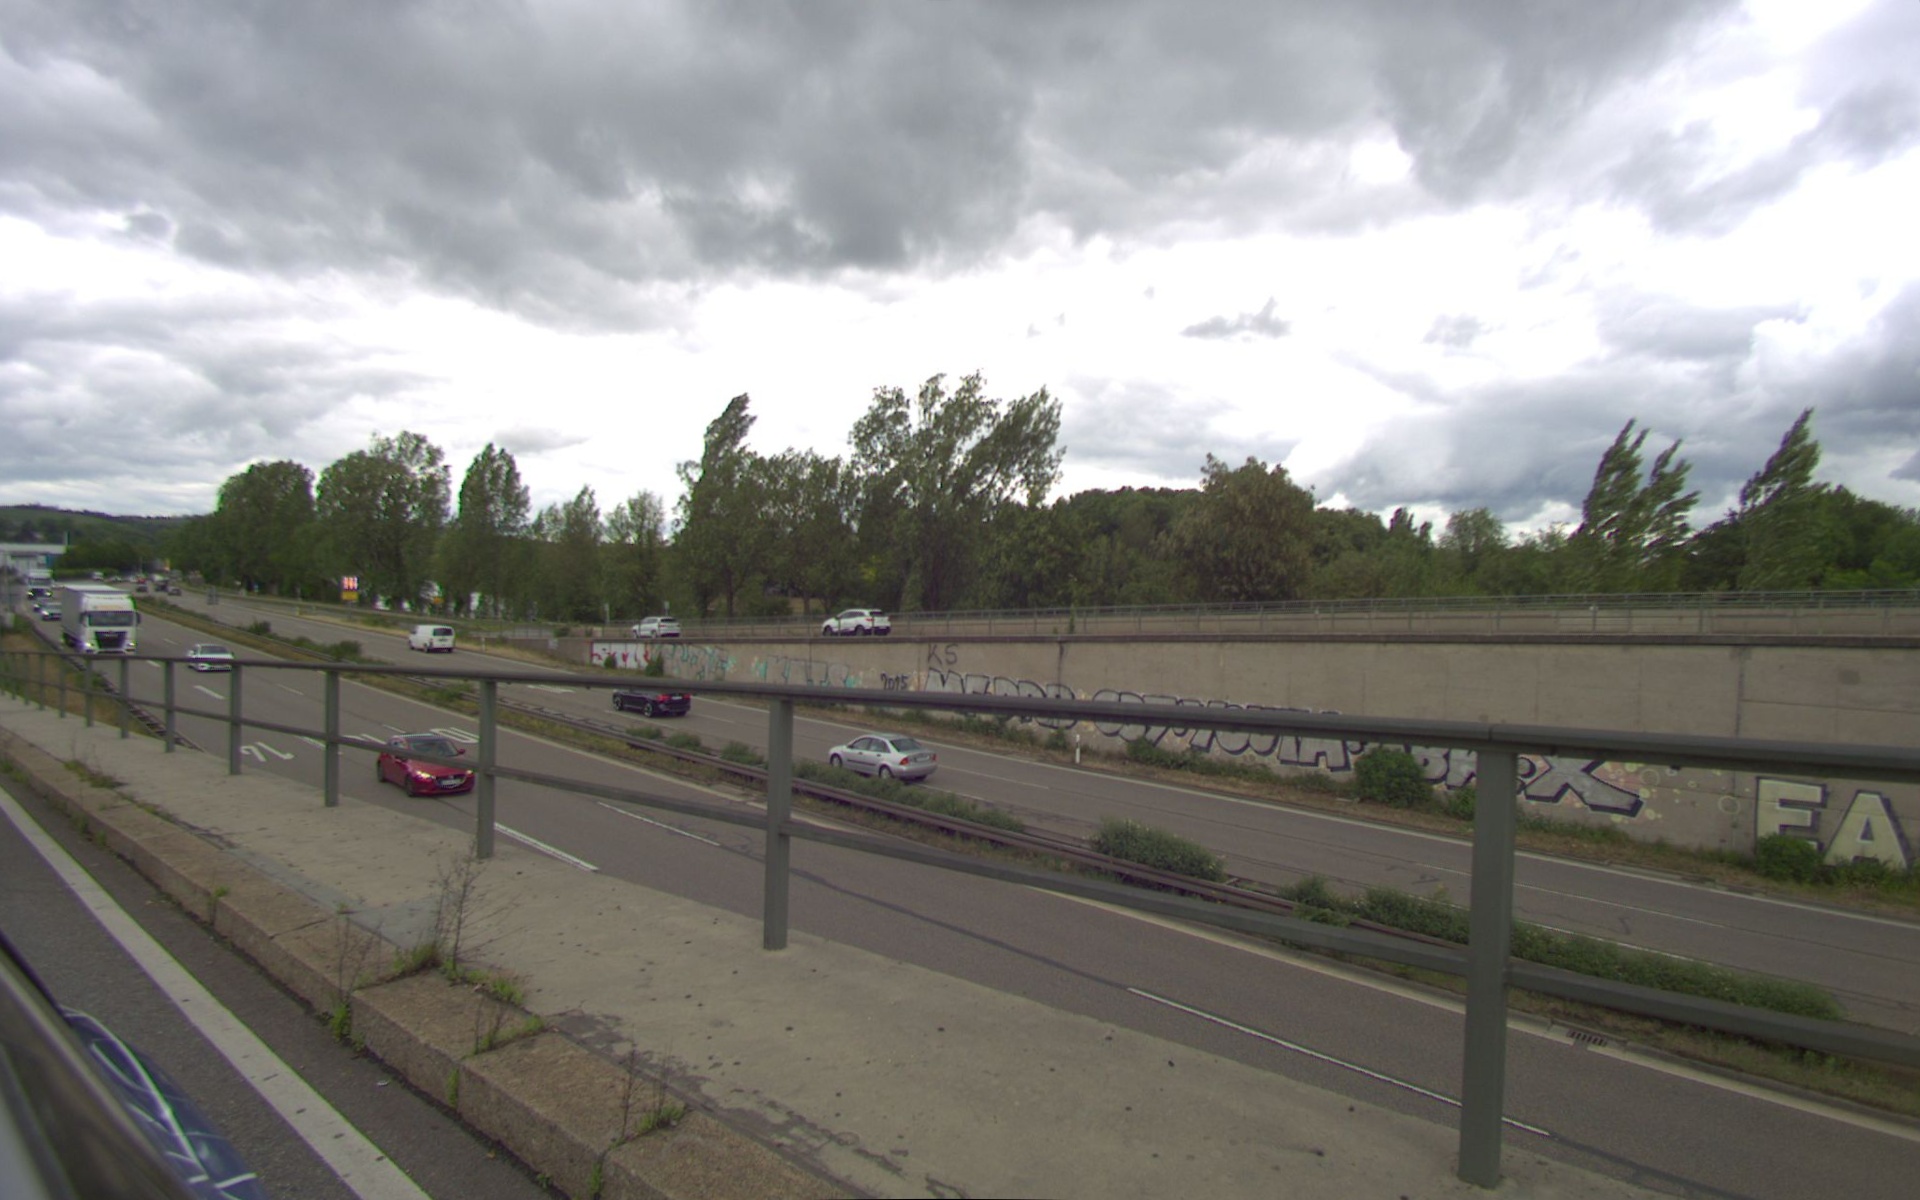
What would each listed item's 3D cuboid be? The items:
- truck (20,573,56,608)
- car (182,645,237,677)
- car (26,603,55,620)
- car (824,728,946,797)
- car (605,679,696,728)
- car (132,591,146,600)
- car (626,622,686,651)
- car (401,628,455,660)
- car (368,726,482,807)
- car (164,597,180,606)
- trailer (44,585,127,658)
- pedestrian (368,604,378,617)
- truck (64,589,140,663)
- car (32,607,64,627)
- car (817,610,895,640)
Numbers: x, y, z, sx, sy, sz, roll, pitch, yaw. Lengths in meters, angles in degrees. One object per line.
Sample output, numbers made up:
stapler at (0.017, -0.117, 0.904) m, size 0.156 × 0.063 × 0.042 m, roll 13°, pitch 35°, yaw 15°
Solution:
truck at (-129.693, -1.357, 142.307) m, size 11.131 × 4.559 × 3.136 m, roll 2°, pitch 1°, yaw 45°
car at (-43.319, 3.465, 58.363) m, size 4.279 × 1.429 × 1.894 m, roll 3°, pitch 2°, yaw 44°
car at (-98.852, 1.208, 108.817) m, size 4.166 × 1.619 × 1.834 m, roll 2°, pitch -3°, yaw 43°
car at (-2.560, 5.386, 33.945) m, size 4.085 × 1.539 × 1.710 m, roll 2°, pitch 1°, yaw 41°
car at (-14.454, 4.785, 47.178) m, size 4.550 × 1.751 × 1.896 m, roll 2°, pitch 0°, yaw 40°
car at (-161.640, -0.888, 199.224) m, size 3.859 × 1.512 × 1.645 m, roll 3°, pitch 0°, yaw 43°
car at (-20.804, 2.475, 69.144) m, size 4.211 × 1.884 × 1.973 m, roll -2°, pitch -1°, yaw 41°
car at (-40.155, 3.307, 76.362) m, size 5.177 × 2.082 × 1.972 m, roll 2°, pitch 1°, yaw 42°
car at (-15.652, 4.770, 29.511) m, size 4.167 × 1.451 × 1.732 m, roll 4°, pitch 3°, yaw 44°
car at (-144.520, 0.271, 185.630) m, size 4.111 × 1.386 × 1.692 m, roll 3°, pitch 0°, yaw 43°
trailer at (-59.793, 1.314, 69.028) m, size 13.152 × 4.283 × 2.721 m, roll 2°, pitch 0°, yaw 43°
pedestrian at (-77.949, 1.353, 134.377) m, size 1.078 × 1.718 × 0.820 m, roll 3°, pitch 2°, yaw 43°
truck at (-54.001, 1.574, 63.639) m, size 6.699 × 4.283 × 2.721 m, roll 2°, pitch 0°, yaw 43°
car at (-84.991, 1.552, 94.278) m, size 4.166 × 1.619 × 1.834 m, roll 2°, pitch 1°, yaw 43°
car at (-5.688, 1.368, 55.027) m, size 4.346 × 1.588 × 1.812 m, roll -2°, pitch -2°, yaw 43°
